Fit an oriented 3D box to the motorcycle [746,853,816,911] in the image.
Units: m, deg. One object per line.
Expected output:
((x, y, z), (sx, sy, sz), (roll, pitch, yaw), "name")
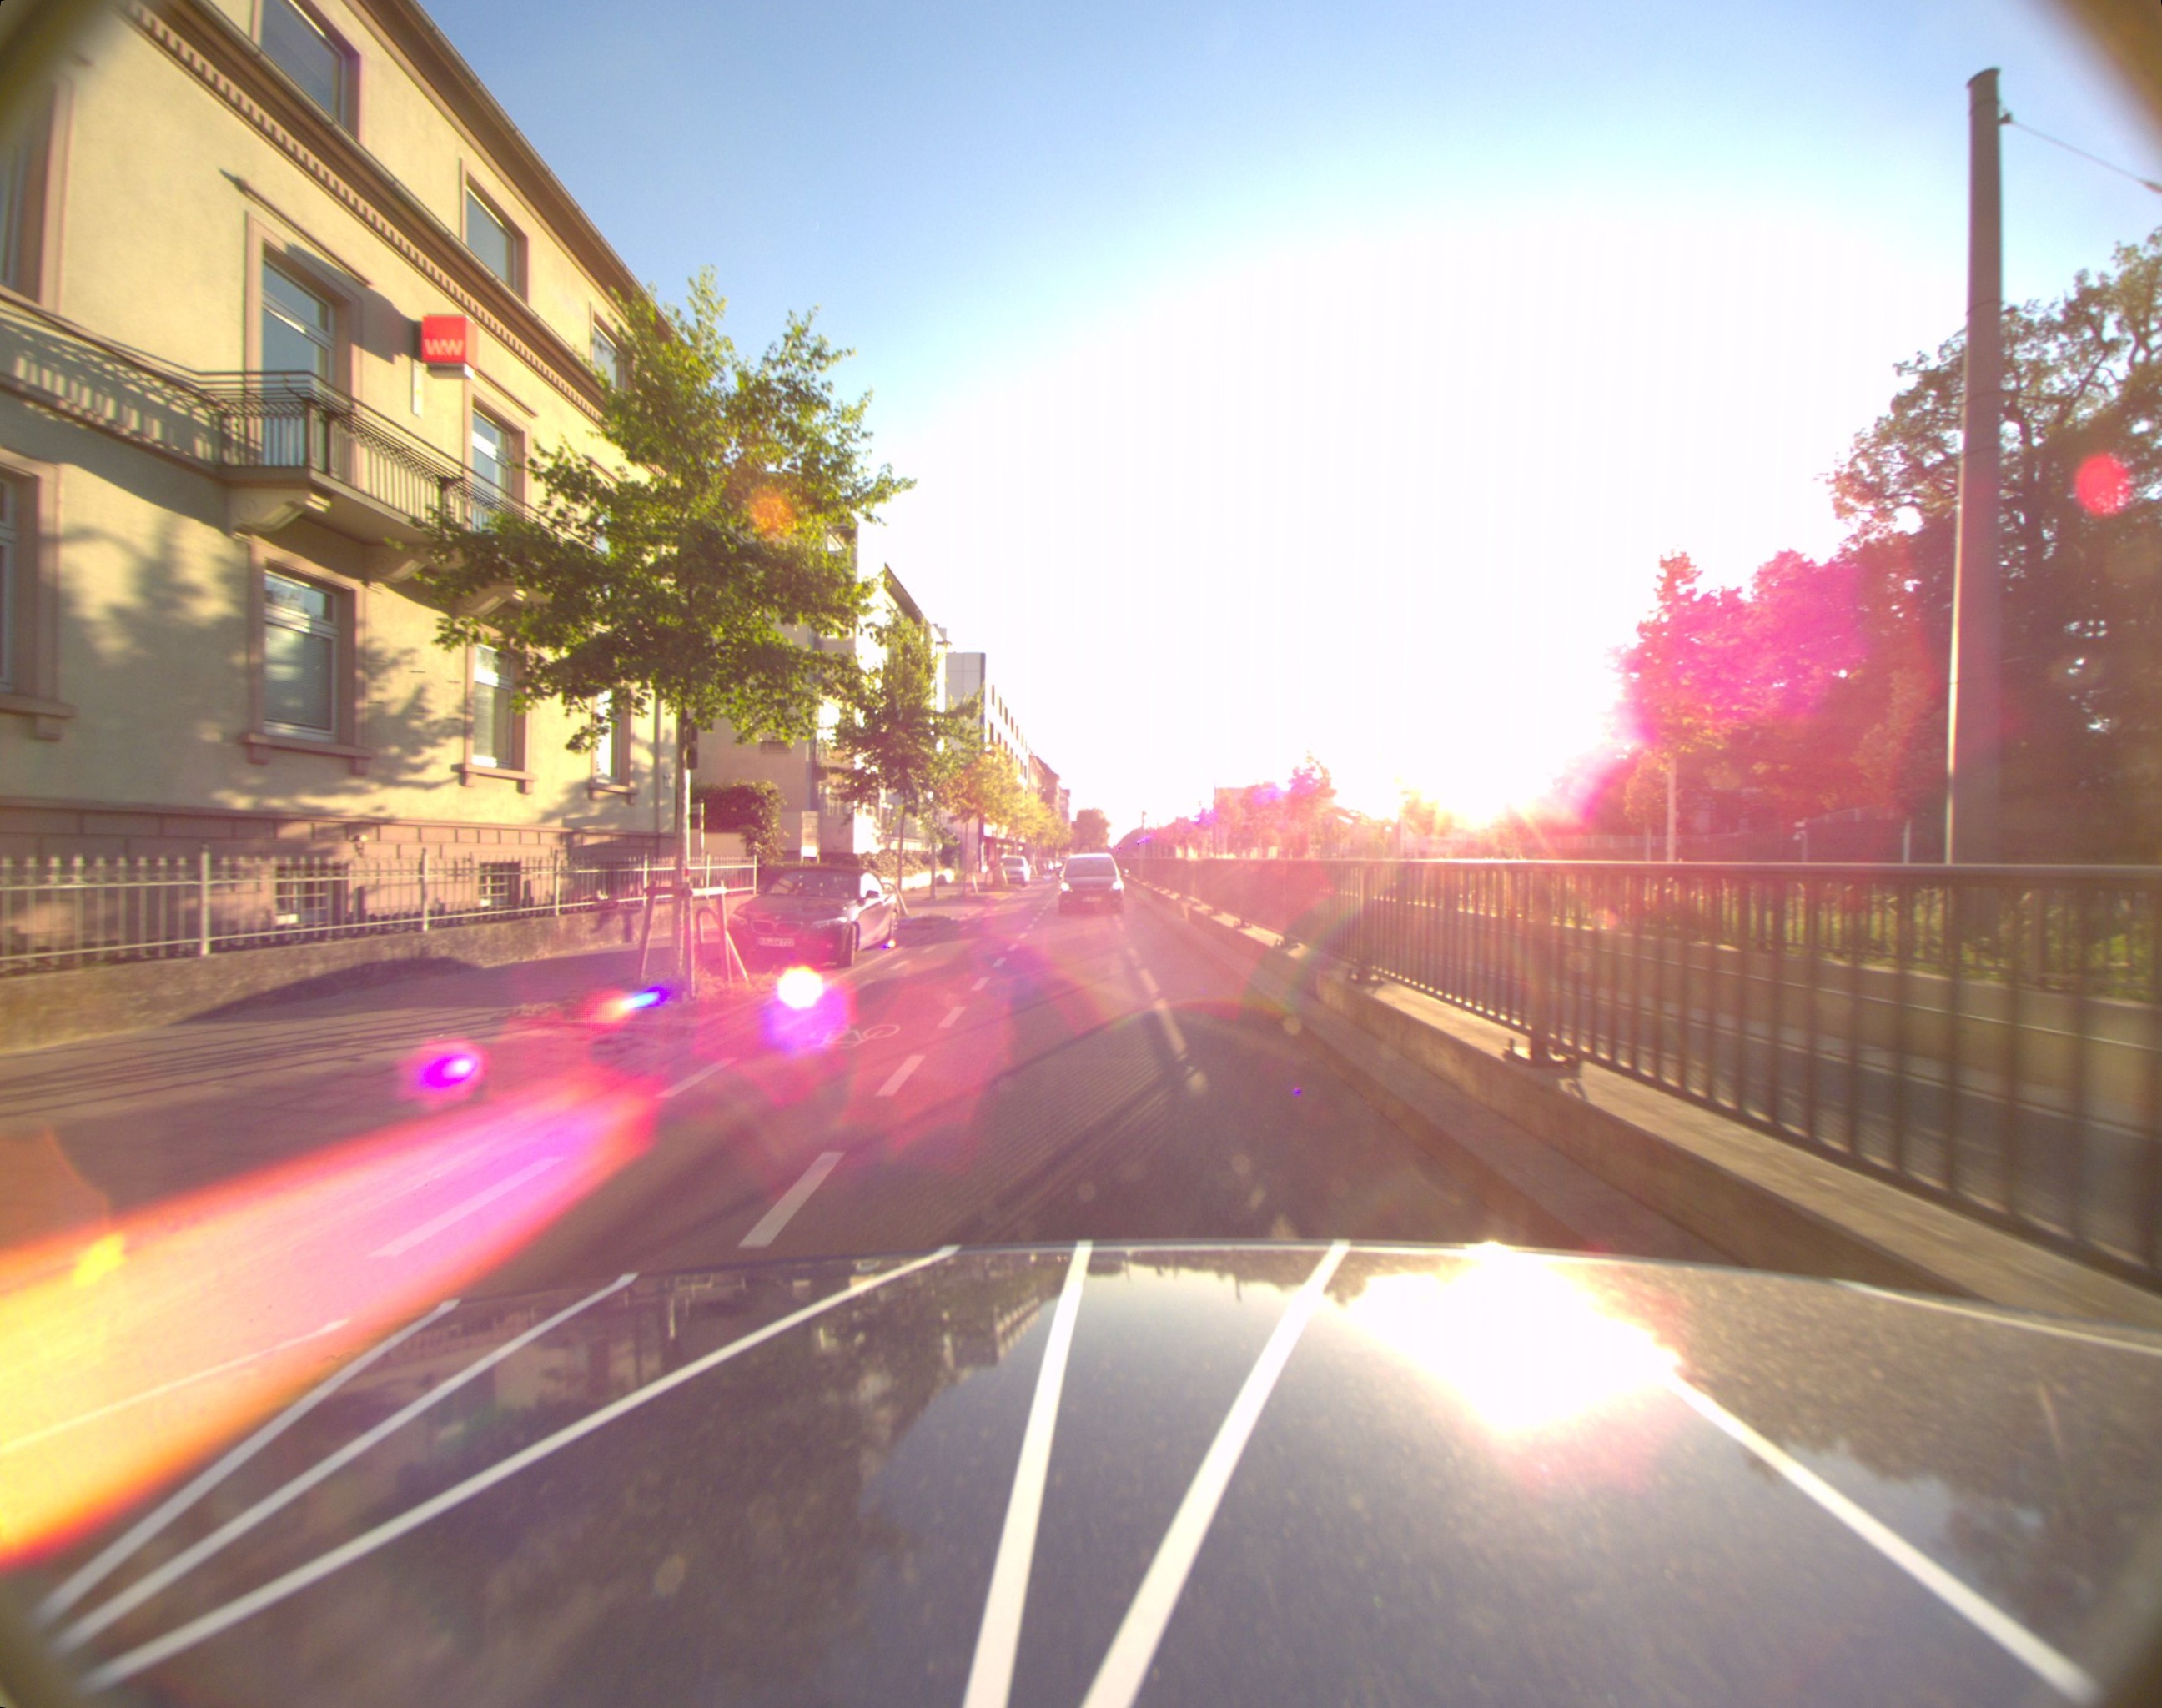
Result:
((-7.663, 0.719, 19.438), (1.500, 1.404, 0.626), (2, -1, -3), "motorcycle")

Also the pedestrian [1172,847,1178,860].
((12.337, -0.073, 99.930), (0.636, 1.719, 0.635), (0, 1, -12), "pedestrian")

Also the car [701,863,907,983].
((-4.200, 0.946, 12.352), (1.797, 1.462, 4.444), (3, 0, -2), "car")

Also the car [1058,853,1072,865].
((-2.352, 0.755, 113.926), (1.761, 1.644, 4.529), (3, 0, 1), "car")

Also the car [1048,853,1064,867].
((-2.967, 0.690, 91.376), (1.824, 1.557, 4.809), (4, 0, -1), "car")

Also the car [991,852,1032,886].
((-3.740, 0.801, 41.586), (1.859, 1.696, 4.253), (2, 0, -1), "car")

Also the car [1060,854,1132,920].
((0.388, 0.838, 21.427), (1.800, 1.609, 4.386), (-1, 0, 0), "car")

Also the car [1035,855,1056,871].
((-3.308, 0.838, 70.881), (1.824, 1.446, 4.127), (1, 0, -3), "car")

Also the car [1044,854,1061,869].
((-3.026, 0.798, 81.251), (1.688, 1.446, 4.129), (1, 0, 0), "car")

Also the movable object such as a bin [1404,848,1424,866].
((49.696, 0.413, 113.398), (1.996, 2.690, 4.004), (0, 0, 14), "movable object such as a bin")
